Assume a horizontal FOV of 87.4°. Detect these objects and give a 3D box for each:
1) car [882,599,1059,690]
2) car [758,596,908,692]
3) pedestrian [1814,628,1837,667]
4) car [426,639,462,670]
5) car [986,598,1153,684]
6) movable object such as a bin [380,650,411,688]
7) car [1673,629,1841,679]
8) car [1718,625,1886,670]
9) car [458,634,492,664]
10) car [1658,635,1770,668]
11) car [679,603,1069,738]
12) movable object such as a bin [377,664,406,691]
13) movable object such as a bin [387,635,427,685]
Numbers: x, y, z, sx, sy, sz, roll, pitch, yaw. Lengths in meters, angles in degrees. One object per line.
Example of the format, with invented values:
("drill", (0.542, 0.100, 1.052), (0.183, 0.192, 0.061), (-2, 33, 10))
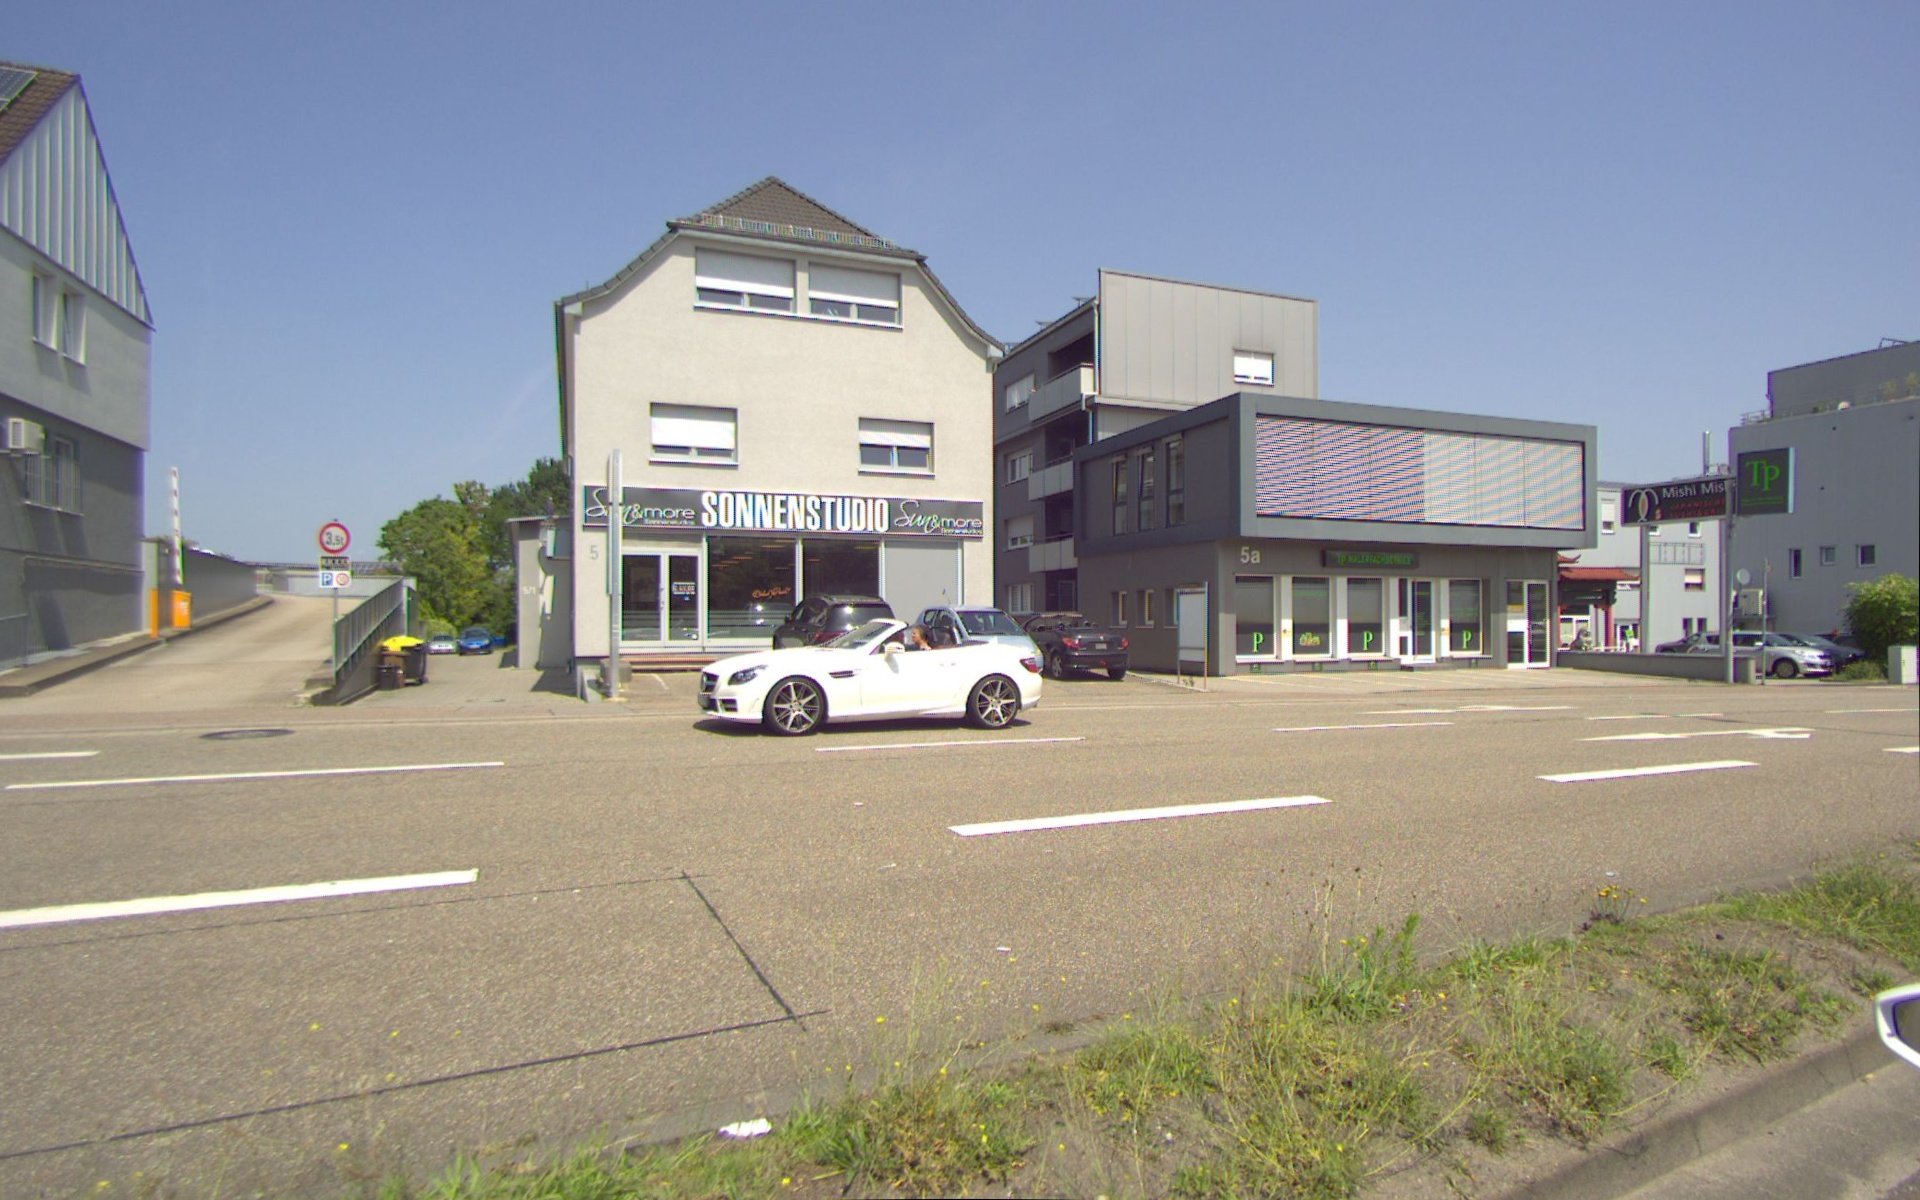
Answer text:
("car", (0.078, 0.860, 21.692), (1.732, 1.517, 4.583), (1, 3, -30))
("car", (-2.649, 0.769, 19.893), (1.827, 1.649, 4.596), (1, 0, -22))
("pedestrian", (38.742, 2.127, 44.974), (0.616, 1.679, 0.544), (2, 0, -23))
("car", (-33.631, 3.537, 65.542), (1.895, 1.841, 3.973), (2, -1, -26))
("car", (2.372, 0.850, 22.910), (1.973, 1.542, 4.044), (1, 3, -25))
("movable object such as a bin", (-16.027, 1.943, 28.532), (0.740, 1.024, 0.892), (1, -1, -28))
("car", (25.468, 1.710, 32.260), (1.555, 1.478, 3.973), (2, -2, -26))
("car", (27.911, 1.592, 33.467), (1.643, 1.389, 3.994), (-1, -3, -19))
("car", (-27.101, 2.719, 56.214), (1.579, 1.526, 3.523), (2, -1, -25))
("car", (36.958, 2.484, 49.307), (1.939, 1.487, 3.958), (0, -2, -27))
("car", (-1.004, 0.786, 11.999), (4.297, 1.372, 1.799), (2, -1, -26))
("movable object such as a bin", (-15.457, 2.103, 27.322), (0.638, 0.676, 0.849), (1, -1, -28))
("movable object such as a bin", (-16.576, 1.797, 30.104), (1.010, 1.404, 1.170), (2, -1, -30))
